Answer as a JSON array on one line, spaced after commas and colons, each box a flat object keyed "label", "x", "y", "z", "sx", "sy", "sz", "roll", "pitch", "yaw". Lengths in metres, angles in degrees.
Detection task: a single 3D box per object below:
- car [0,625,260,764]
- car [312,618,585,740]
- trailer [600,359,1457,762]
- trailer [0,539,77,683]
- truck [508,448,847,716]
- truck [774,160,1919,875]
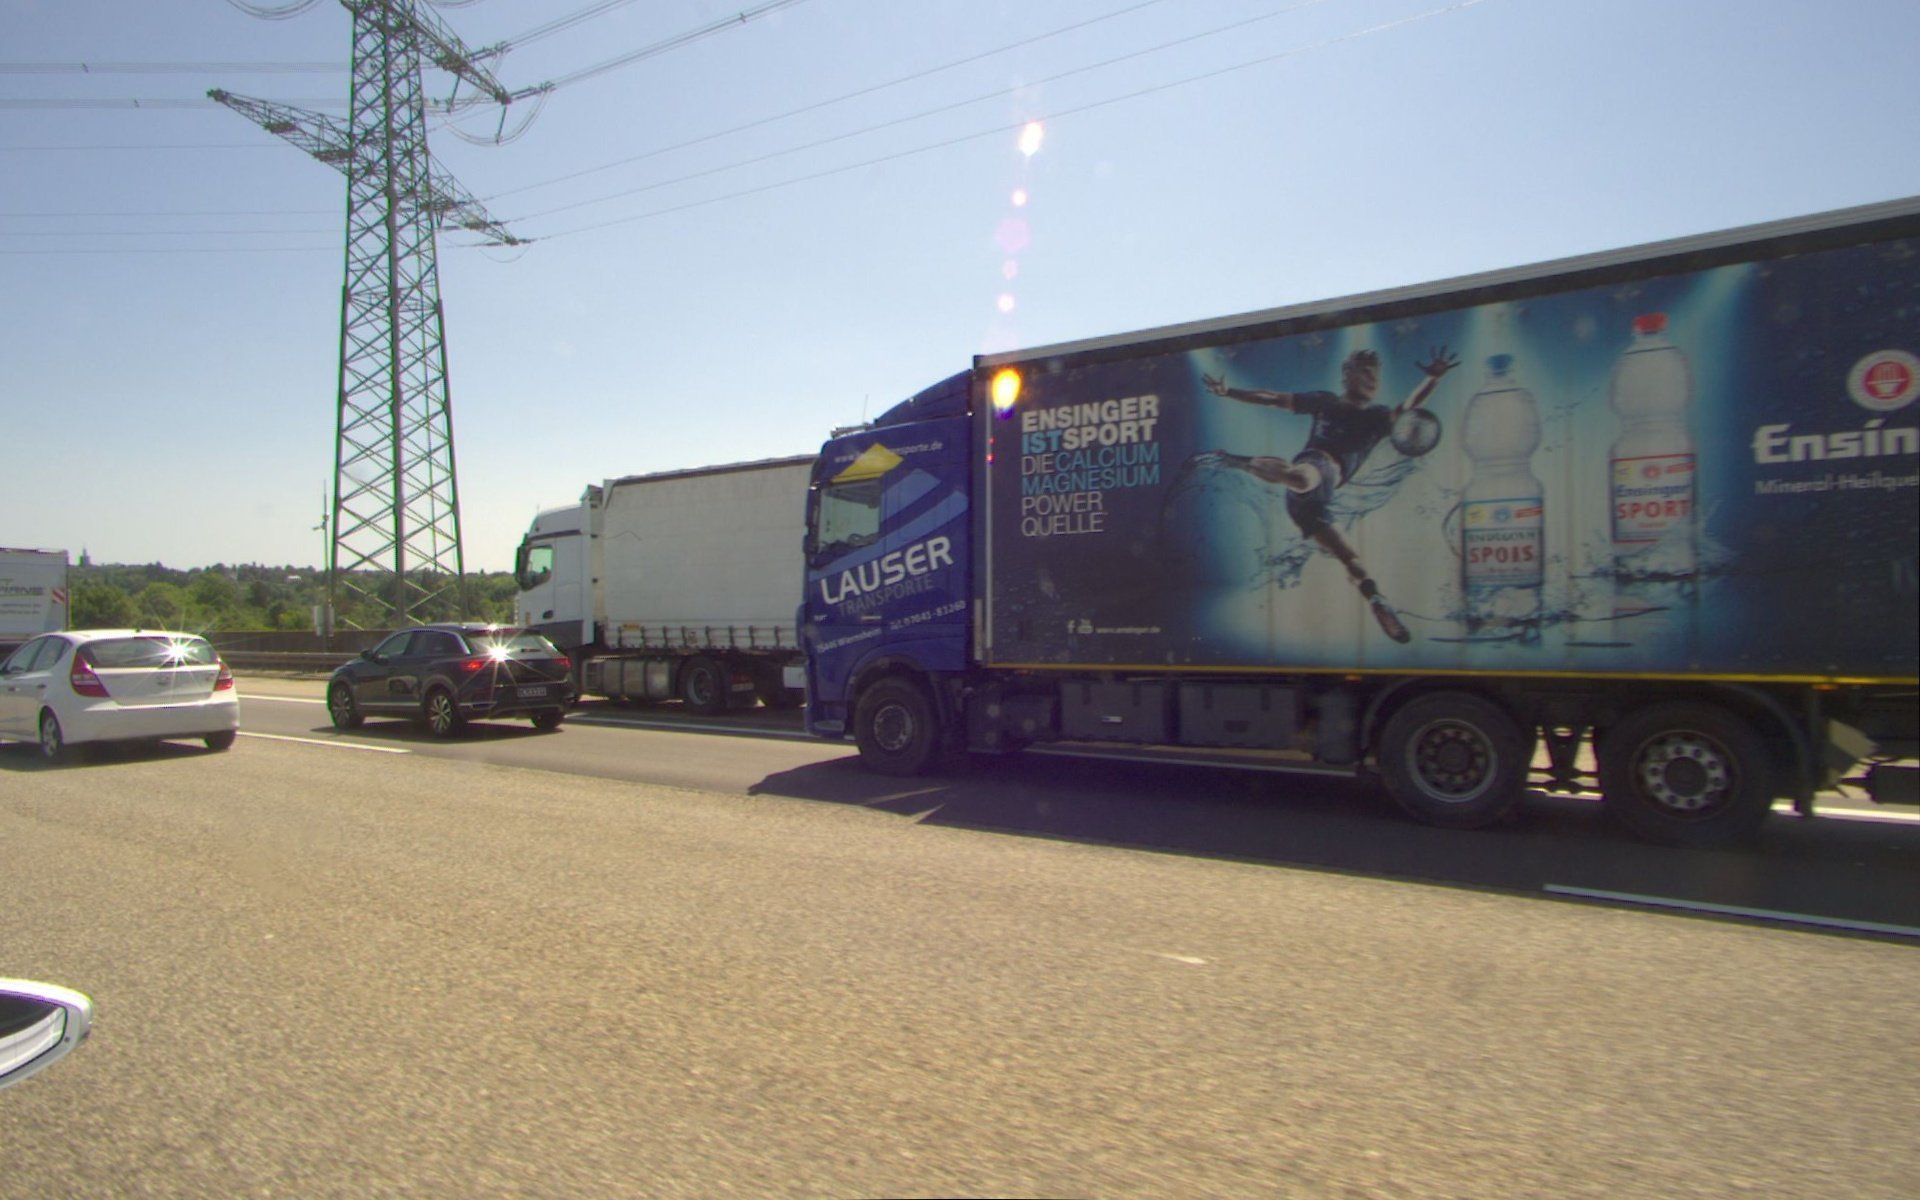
[{"label": "car", "x": -10.805, "y": 1.064, "z": 12.603, "sx": 4.232, "sy": 1.474, "sz": 1.785, "roll": -1, "pitch": -1, "yaw": 32}, {"label": "car", "x": -7.490, "y": 1.064, "z": 14.573, "sx": 4.048, "sy": 1.546, "sz": 1.733, "roll": -1, "pitch": -2, "yaw": 33}, {"label": "trailer", "x": 0.007, "y": -0.269, "z": 15.113, "sx": 13.234, "sy": 4.195, "sz": 2.710, "roll": -1, "pitch": -2, "yaw": 32}, {"label": "trailer", "x": -28.197, "y": 0.335, "z": 28.332, "sx": 7.899, "sy": 3.748, "sz": 2.693, "roll": -1, "pitch": -1, "yaw": 32}, {"label": "truck", "x": -5.300, "y": -0.181, "z": 18.487, "sx": 6.072, "sy": 4.194, "sz": 2.688, "roll": -1, "pitch": -2, "yaw": 32}, {"label": "truck", "x": 3.046, "y": -0.382, "z": 8.839, "sx": 10.298, "sy": 4.118, "sz": 2.518, "roll": -1, "pitch": -1, "yaw": 32}]
